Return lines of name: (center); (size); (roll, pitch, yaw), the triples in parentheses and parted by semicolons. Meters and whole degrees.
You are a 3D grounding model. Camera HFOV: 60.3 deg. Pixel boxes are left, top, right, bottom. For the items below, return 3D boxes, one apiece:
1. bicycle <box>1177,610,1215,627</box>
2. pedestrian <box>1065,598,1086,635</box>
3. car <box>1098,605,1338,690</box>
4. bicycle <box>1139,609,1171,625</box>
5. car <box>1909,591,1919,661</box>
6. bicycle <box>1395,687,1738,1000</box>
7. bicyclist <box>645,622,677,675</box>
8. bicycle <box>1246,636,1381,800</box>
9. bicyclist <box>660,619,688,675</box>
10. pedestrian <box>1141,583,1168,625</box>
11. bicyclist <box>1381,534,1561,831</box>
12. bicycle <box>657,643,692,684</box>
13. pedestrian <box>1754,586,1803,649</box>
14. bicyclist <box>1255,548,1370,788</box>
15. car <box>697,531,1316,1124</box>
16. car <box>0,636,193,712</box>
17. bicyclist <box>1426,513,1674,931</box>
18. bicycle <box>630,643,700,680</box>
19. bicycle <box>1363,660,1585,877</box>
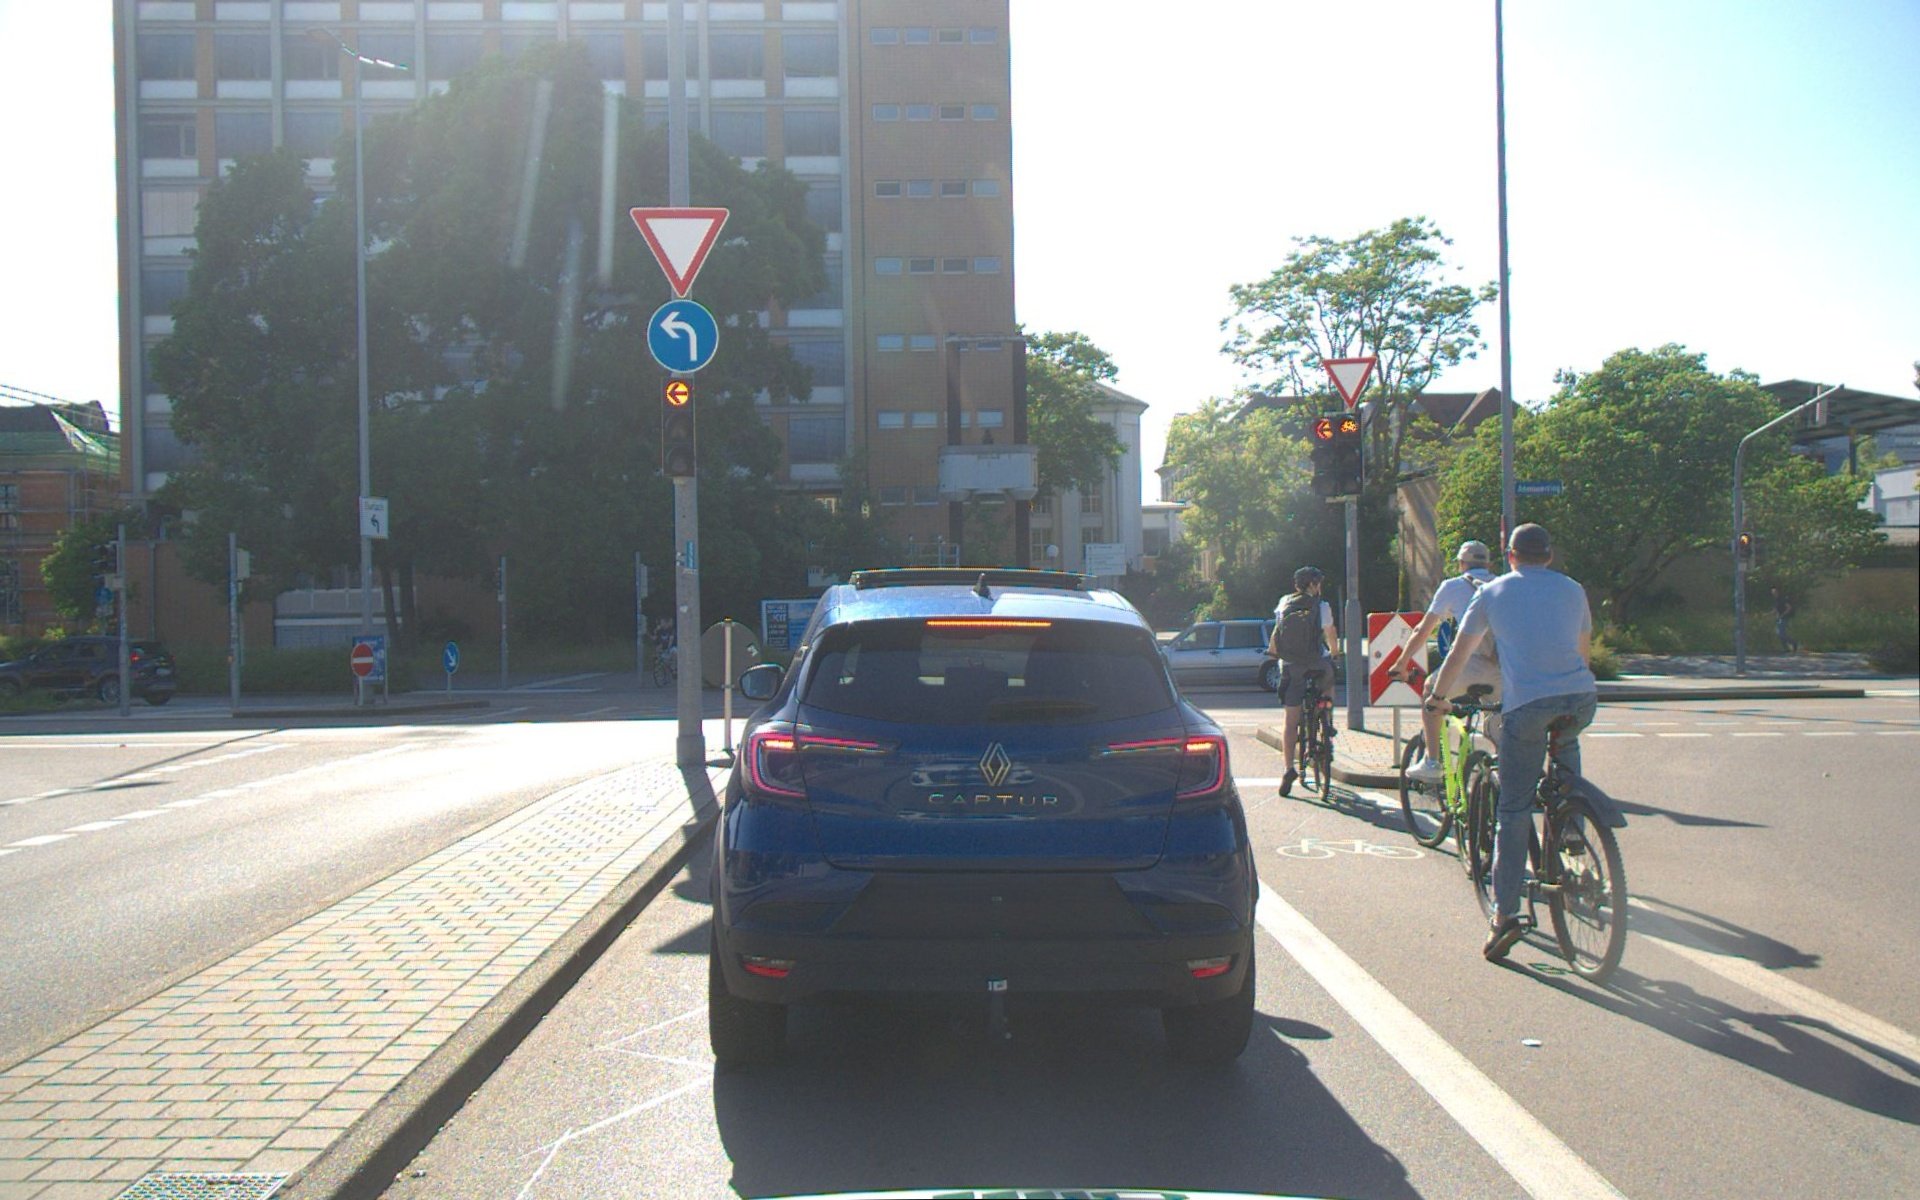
bicycle: (11.855, 0.931, 83.206); (1.739, 0.837, 0.763); (-1, 0, -11)
pedestrian: (6.521, 0.925, 93.235); (1.126, 2.049, 0.952); (-1, 0, 6)
car: (5.299, 0.971, 34.332); (4.760, 1.621, 1.939); (-1, 0, 6)
bicycle: (11.198, 0.983, 94.997); (1.735, 0.914, 0.765); (-1, 0, -1)
car: (22.769, 0.518, 35.354); (3.871, 1.517, 1.812); (-1, -2, 5)
bicycle: (2.563, 0.977, 7.257); (0.732, 1.069, 1.902); (-1, 0, -2)
bicyclist: (-8.299, 1.334, 45.905); (0.623, 1.437, 0.649); (-1, 0, 18)
bicycle: (2.752, 0.887, 13.040); (0.602, 1.158, 1.825); (0, 0, -2)
bicyclist: (-7.571, 1.243, 43.762); (0.637, 1.437, 0.635); (-1, -3, -17)
pedestrian: (9.776, 0.210, 83.174); (1.132, 2.049, 1.164); (-1, 0, -1)
bicyclist: (2.929, 0.450, 9.575); (0.660, 1.610, 1.081); (1, 0, -2)
bicycle: (-7.568, 1.693, 43.807); (0.687, 1.025, 1.860); (-1, -3, -16)
pedestrian: (21.382, 0.453, 43.221); (0.960, 1.632, 0.827); (-1, 0, 13)
bicyclist: (2.762, 0.523, 13.046); (0.663, 1.816, 0.939); (1, -1, -2)
car: (0.083, 0.645, 6.656); (1.758, 1.684, 3.852); (1, 0, -2)
car: (-19.854, 1.677, 37.796); (3.902, 1.598, 1.837); (-1, 0, 12)
bicyclist: (2.550, 0.498, 7.239); (0.725, 1.703, 0.865); (-1, 0, -3)
bicycle: (-8.175, 1.703, 45.869); (1.826, 0.975, 0.624); (-1, 0, 18)
bicycle: (2.936, 0.925, 9.647); (0.657, 1.069, 1.843); (1, 0, -2)
